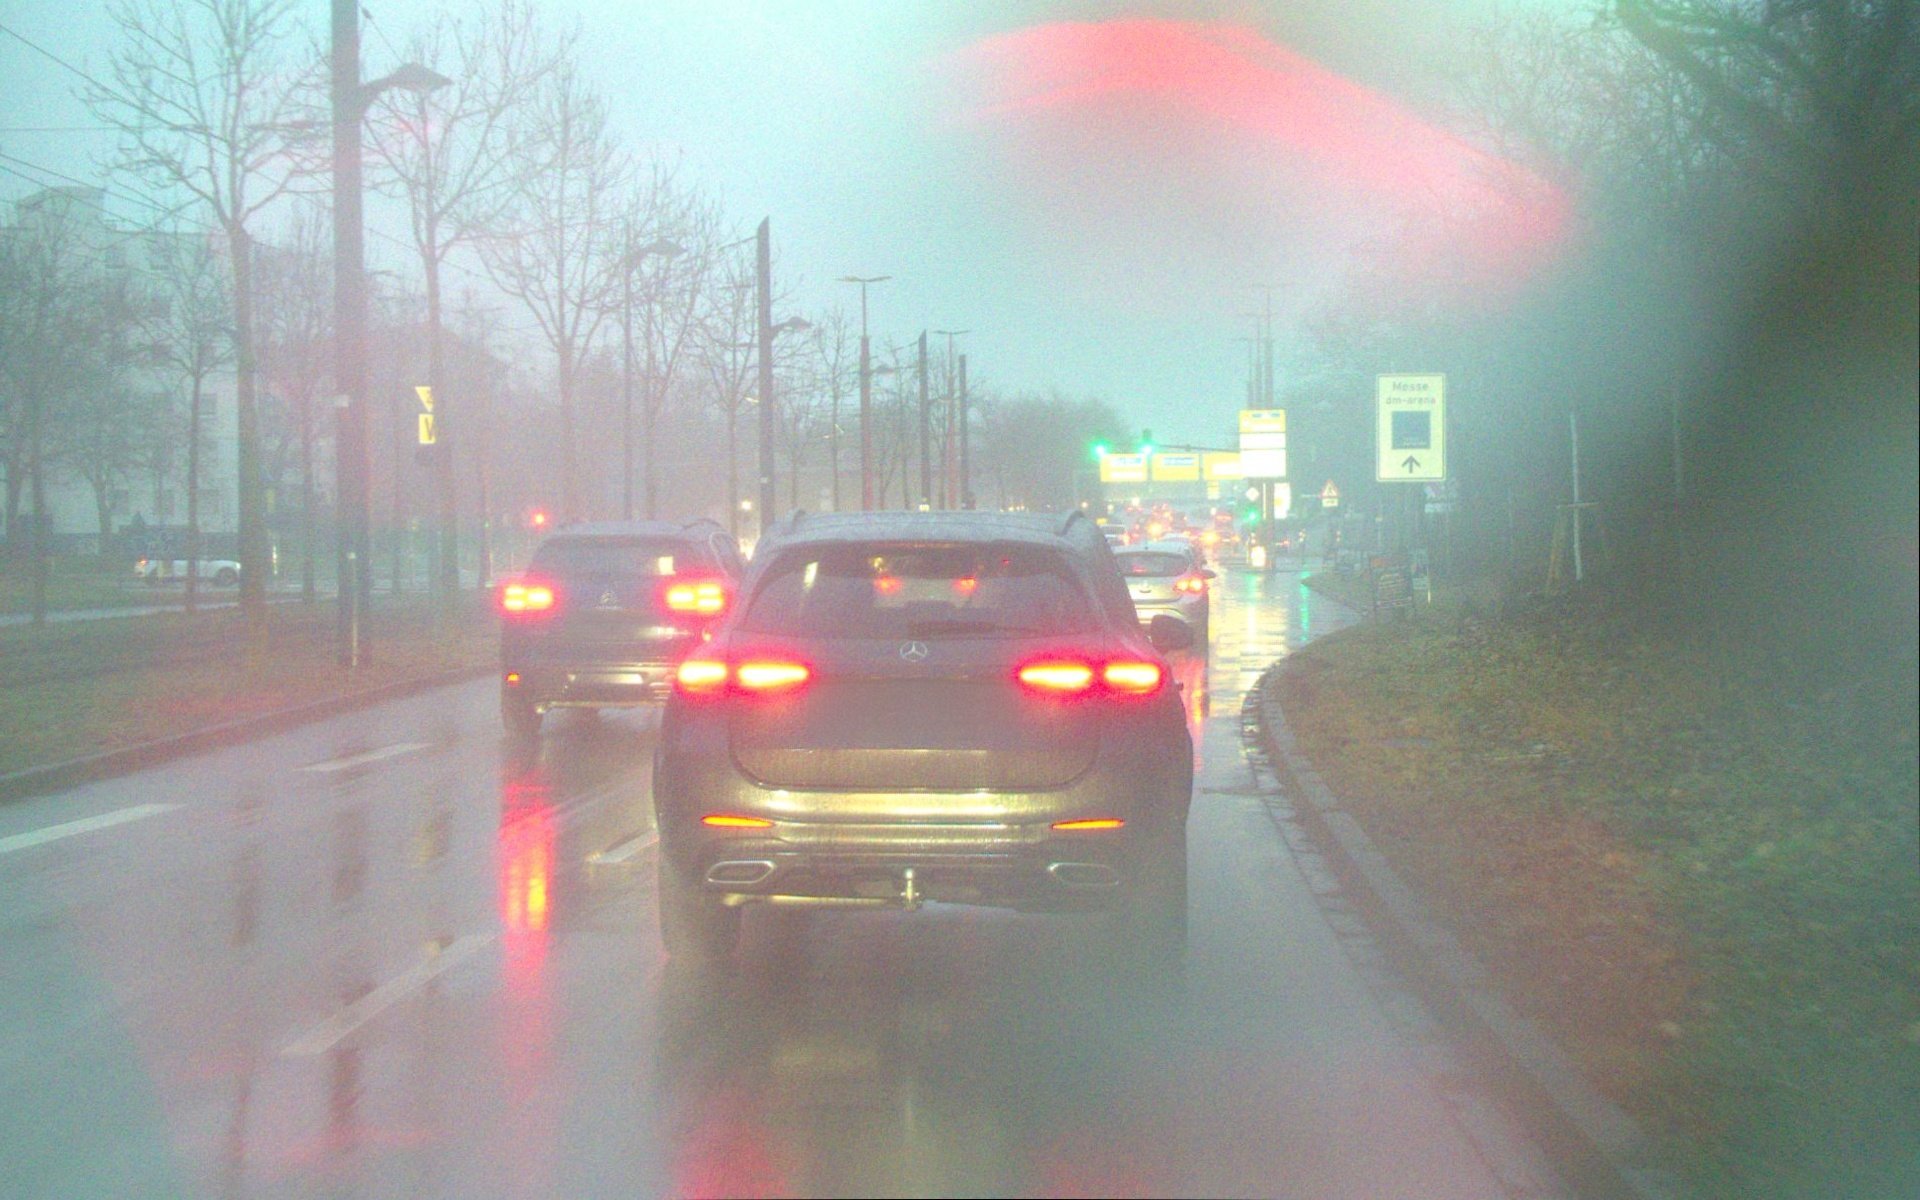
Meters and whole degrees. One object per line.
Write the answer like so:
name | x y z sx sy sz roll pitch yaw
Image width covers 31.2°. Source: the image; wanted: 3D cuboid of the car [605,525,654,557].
car | -17.851 -3.197 186.042 1.994 1.652 3.999 1 1 4

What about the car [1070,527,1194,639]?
car | 2.471 -0.271 49.806 1.709 1.552 3.996 0 1 2

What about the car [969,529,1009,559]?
car | 1.652 -3.161 193.927 1.994 1.660 3.836 0 1 4

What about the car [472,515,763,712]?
car | -2.676 0.050 27.712 1.880 1.454 4.000 0 2 1

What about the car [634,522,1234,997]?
car | -0.106 0.490 13.489 1.998 1.578 4.000 0 1 -1
